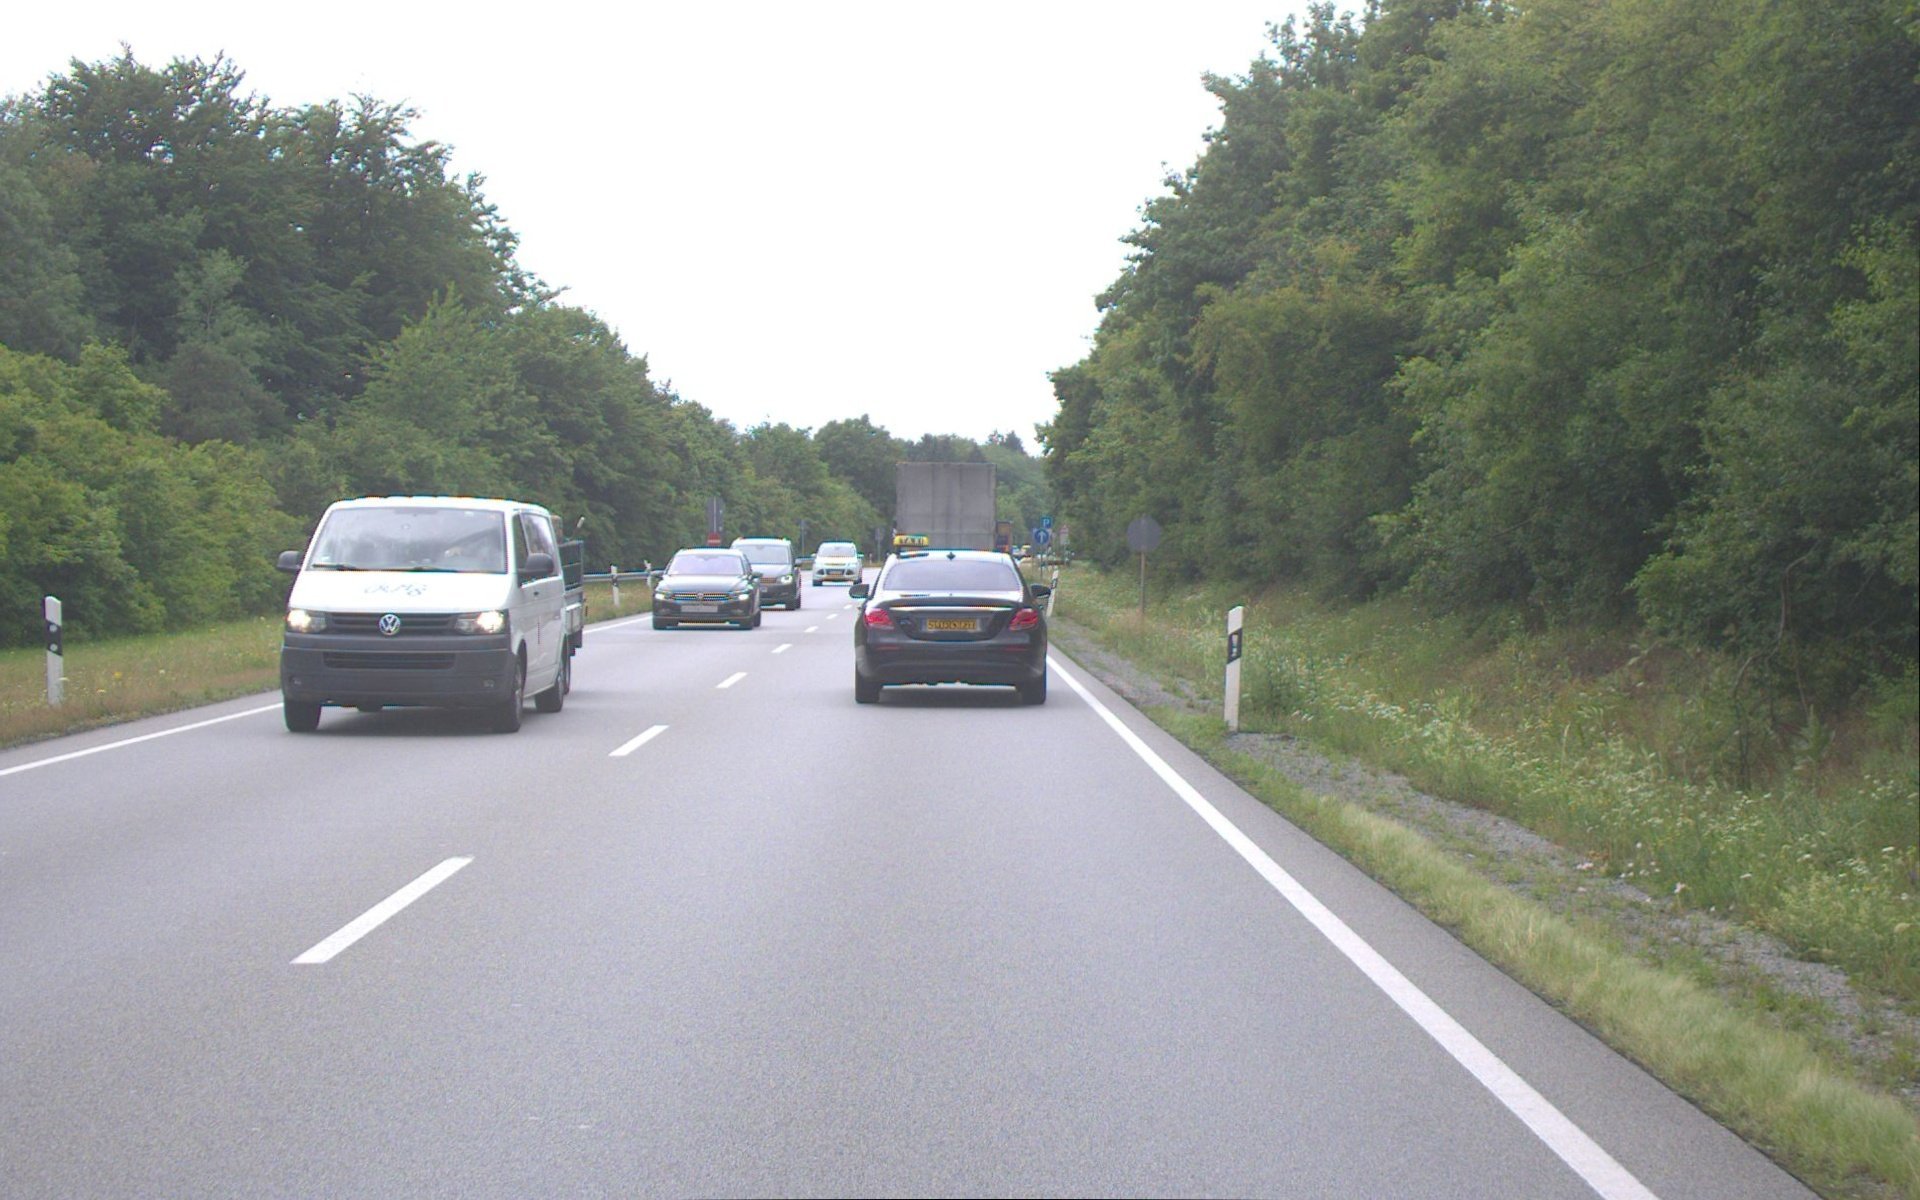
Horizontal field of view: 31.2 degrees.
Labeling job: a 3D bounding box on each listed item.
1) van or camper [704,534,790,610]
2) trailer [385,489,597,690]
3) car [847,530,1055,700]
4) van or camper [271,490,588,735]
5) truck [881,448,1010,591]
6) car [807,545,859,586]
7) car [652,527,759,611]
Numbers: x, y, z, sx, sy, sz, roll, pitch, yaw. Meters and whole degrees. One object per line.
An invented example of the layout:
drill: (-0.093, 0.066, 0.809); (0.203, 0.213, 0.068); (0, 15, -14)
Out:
van or camper: (-5.179, -0.705, 83.544); (1.993, 1.777, 4.423); (1, 1, -4)
trailer: (-4.641, -0.124, 34.426); (1.622, 1.886, 3.784); (1, 1, -1)
car: (-0.149, 0.110, 33.844); (1.791, 1.546, 4.001); (1, 1, -4)
van or camper: (-4.427, 0.058, 29.466); (1.921, 1.886, 5.362); (1, 1, -1)
truck: (-0.328, -2.143, 93.779); (3.281, 3.599, 11.400); (1, 1, 0)
car: (-4.966, -1.348, 134.769); (1.875, 1.554, 3.755); (1, 1, 0)
car: (-4.702, -0.591, 63.991); (1.688, 1.474, 4.456); (1, 1, -1)
